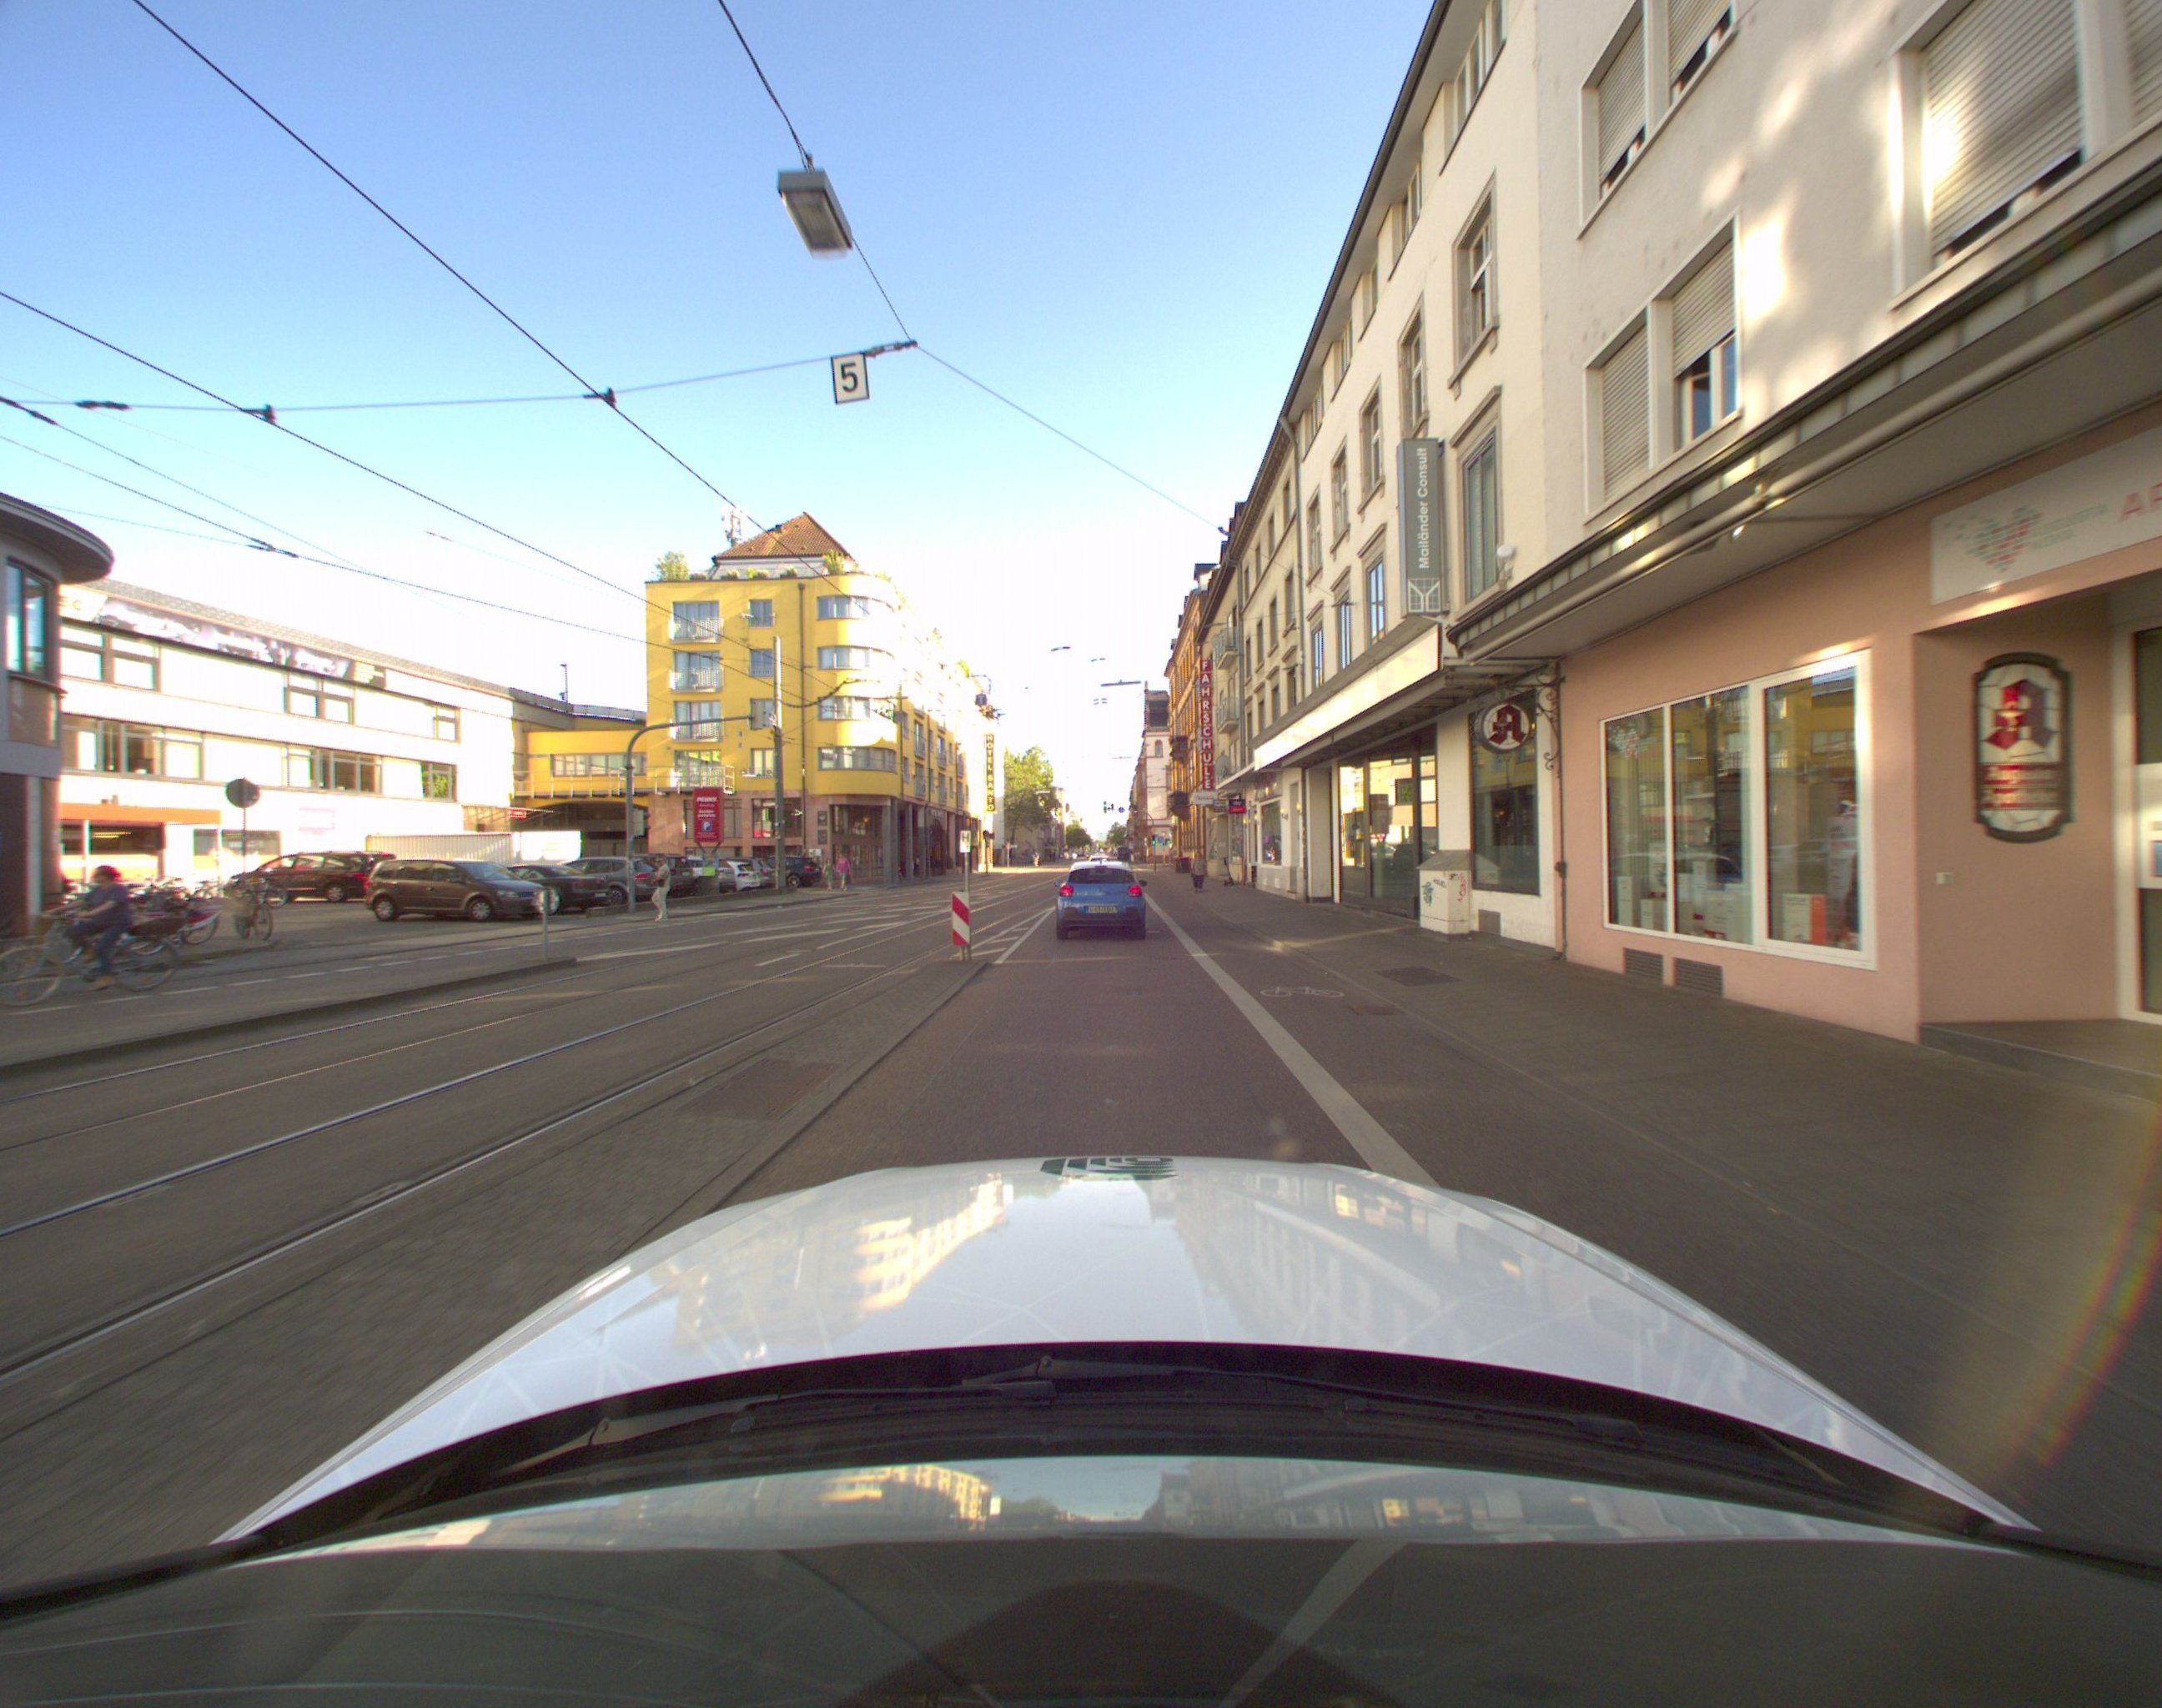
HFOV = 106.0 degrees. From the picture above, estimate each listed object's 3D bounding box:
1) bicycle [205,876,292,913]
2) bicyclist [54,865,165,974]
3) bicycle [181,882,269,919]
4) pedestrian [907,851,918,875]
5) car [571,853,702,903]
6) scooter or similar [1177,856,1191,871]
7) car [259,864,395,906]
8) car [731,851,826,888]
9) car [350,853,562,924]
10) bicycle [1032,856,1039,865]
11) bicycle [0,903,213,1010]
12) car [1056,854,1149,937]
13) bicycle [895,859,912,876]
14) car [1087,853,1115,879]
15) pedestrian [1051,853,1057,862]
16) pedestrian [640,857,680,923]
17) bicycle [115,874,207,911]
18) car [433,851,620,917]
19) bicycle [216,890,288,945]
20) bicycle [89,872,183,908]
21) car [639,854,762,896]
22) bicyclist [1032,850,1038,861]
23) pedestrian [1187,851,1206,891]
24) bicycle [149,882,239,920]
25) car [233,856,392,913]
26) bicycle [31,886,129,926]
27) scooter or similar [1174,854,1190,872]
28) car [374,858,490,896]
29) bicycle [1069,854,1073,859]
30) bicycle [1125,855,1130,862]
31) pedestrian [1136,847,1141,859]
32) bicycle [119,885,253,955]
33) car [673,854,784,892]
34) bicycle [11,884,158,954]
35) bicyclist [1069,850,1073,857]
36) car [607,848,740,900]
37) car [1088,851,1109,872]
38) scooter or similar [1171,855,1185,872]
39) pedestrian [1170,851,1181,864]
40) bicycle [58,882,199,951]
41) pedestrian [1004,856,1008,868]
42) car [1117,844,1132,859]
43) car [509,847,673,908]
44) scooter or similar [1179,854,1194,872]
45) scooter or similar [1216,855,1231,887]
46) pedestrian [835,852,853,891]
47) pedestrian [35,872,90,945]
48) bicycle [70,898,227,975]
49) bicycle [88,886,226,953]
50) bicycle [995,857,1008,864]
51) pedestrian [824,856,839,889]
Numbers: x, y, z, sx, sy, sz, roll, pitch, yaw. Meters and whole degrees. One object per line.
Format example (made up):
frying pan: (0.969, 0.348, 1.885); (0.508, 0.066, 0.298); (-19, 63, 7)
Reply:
bicycle: (-25.289, 1.199, 24.792); (0.508, 1.014, 2.062); (-1, 0, 0)
bicyclist: (-12.728, 0.831, 10.691); (0.560, 1.361, 0.719); (-1, 0, 3)
bicycle: (-26.290, 1.396, 25.069); (0.511, 1.014, 2.062); (-1, 0, 0)
pedestrian: (-12.623, 0.689, 61.130); (0.558, 1.770, 0.724); (-1, 0, 6)
car: (-15.851, 0.847, 29.145); (3.675, 1.672, 1.786); (-1, 0, 2)
scooter or similar: (7.114, 0.636, 56.220); (0.788, 0.957, 0.680); (-5, 0, 0)
car: (-28.972, 1.170, 31.371); (3.626, 1.481, 1.627); (-1, 0, -1)
car: (-15.721, 0.789, 42.459); (4.218, 1.812, 1.786); (-1, 0, 1)
car: (-16.341, 0.867, 21.437); (4.218, 1.763, 1.786); (0, 0, 1)
bicycle: (-5.735, 0.863, 102.076); (0.728, 1.088, 2.061); (-1, 0, 0)
bicycle: (-12.725, 1.277, 10.627); (0.561, 1.123, 2.006); (0, 0, 3)
car: (0.484, 0.770, 16.936); (1.667, 1.477, 4.002); (1, 0, 2)
bicycle: (-13.399, 0.989, 61.380); (0.578, 1.203, 2.084); (-1, 0, 6)
car: (1.222, 0.731, 50.782); (1.661, 1.478, 4.000); (-1, 0, 1)
pedestrian: (-4.932, 0.633, 148.615); (0.678, 1.765, 1.029); (-1, 0, 12)
pedestrian: (-11.617, 0.967, 22.486); (0.712, 1.764, 0.779); (-1, 0, -5)
bicycle: (-28.336, 1.160, 25.139); (0.494, 1.014, 2.062); (-1, 0, 0)
car: (-16.122, 0.843, 23.830); (4.217, 1.812, 1.786); (-1, 0, 1)
bicycle: (-16.581, 1.251, 16.280); (1.856, 1.036, 0.428); (-1, 0, 26)
bicycle: (-29.103, 1.079, 25.124); (0.502, 1.014, 2.062); (-1, 0, 0)
car: (-15.737, 0.838, 33.836); (4.217, 1.609, 1.786); (-1, 0, 1)
bicyclist: (-5.742, 0.159, 102.037); (0.721, 1.381, 1.228); (0, 1, 0)
pedestrian: (4.544, 0.652, 32.100); (0.646, 1.560, 0.781); (-1, 0, 0)
bicycle: (-27.311, 1.424, 25.121); (0.502, 1.014, 2.062); (-1, 0, 0)
car: (-25.142, 0.964, 26.731); (3.567, 1.748, 1.695); (-1, 0, -1)
bicycle: (-28.226, 1.447, 23.007); (0.365, 1.014, 1.828); (-1, 0, 5)
scooter or similar: (7.074, 0.614, 56.866); (0.930, 1.148, 0.650); (-5, 0, 0)
car: (-27.932, 0.966, 35.116); (3.567, 1.479, 1.695); (-1, 1, -1)
bicycle: (-2.088, 0.477, 172.938); (0.690, 1.120, 2.084); (-1, 0, 1)
bicycle: (6.705, 0.696, 117.745); (0.430, 0.947, 1.760); (-1, 0, -5)
pedestrian: (8.368, -0.094, 119.289); (0.703, 1.782, 0.672); (0, -1, 0)
bicycle: (-16.005, 1.146, 14.635); (0.462, 1.080, 1.876); (-1, 0, -6)
car: (-15.904, 0.866, 36.876); (4.218, 1.548, 1.785); (-2, -2, 1)
bicycle: (-17.823, 1.126, 14.638); (0.462, 1.077, 1.876); (-1, 0, -6)
bicyclist: (-2.125, -0.041, 172.831); (0.680, 1.483, 0.778); (-1, 0, 1)
car: (-15.742, 0.784, 31.596); (4.218, 1.812, 1.785); (-2, -2, 1)
car: (1.772, 0.740, 81.753); (1.987, 2.013, 4.000); (-1, 0, 1)
scooter or similar: (6.904, 0.687, 57.953); (0.894, 1.148, 0.547); (-5, 0, 0)
pedestrian: (10.803, 0.387, 93.450); (0.942, 1.457, 0.817); (-1, 0, -23)
bicycle: (-17.159, 1.084, 14.734); (0.462, 1.087, 1.876); (-1, 0, -6)
pedestrian: (-10.312, 1.085, 112.194); (0.541, 1.552, 0.516); (-1, 0, 0)
car: (7.334, -0.405, 138.111); (2.263, 2.436, 5.722); (-1, 0, 2)
car: (-15.831, 0.734, 26.457); (4.217, 1.812, 1.786); (-1, 0, 1)
scooter or similar: (7.143, 0.590, 55.263); (0.788, 1.148, 0.790); (-5, 0, 0)
scooter or similar: (5.888, 0.672, 33.586); (0.407, 1.281, 1.289); (-1, 0, 18)
pedestrian: (-11.842, 0.855, 40.638); (0.635, 1.946, 0.709); (-1, 0, 0)
pedestrian: (-24.269, 1.290, 19.419); (0.479, 1.695, 0.654); (-1, 0, 0)
bicycle: (-15.206, 1.307, 13.363); (0.523, 1.036, 1.876); (-1, 0, -6)
bicycle: (-16.573, 1.146, 14.676); (0.462, 1.036, 1.876); (-1, 0, -6)
bicycle: (-12.747, 1.045, 130.609); (1.898, 1.034, 0.669); (-1, 0, 27)
pedestrian: (-12.525, 0.932, 40.926); (0.570, 1.617, 0.499); (-1, 0, 0)
